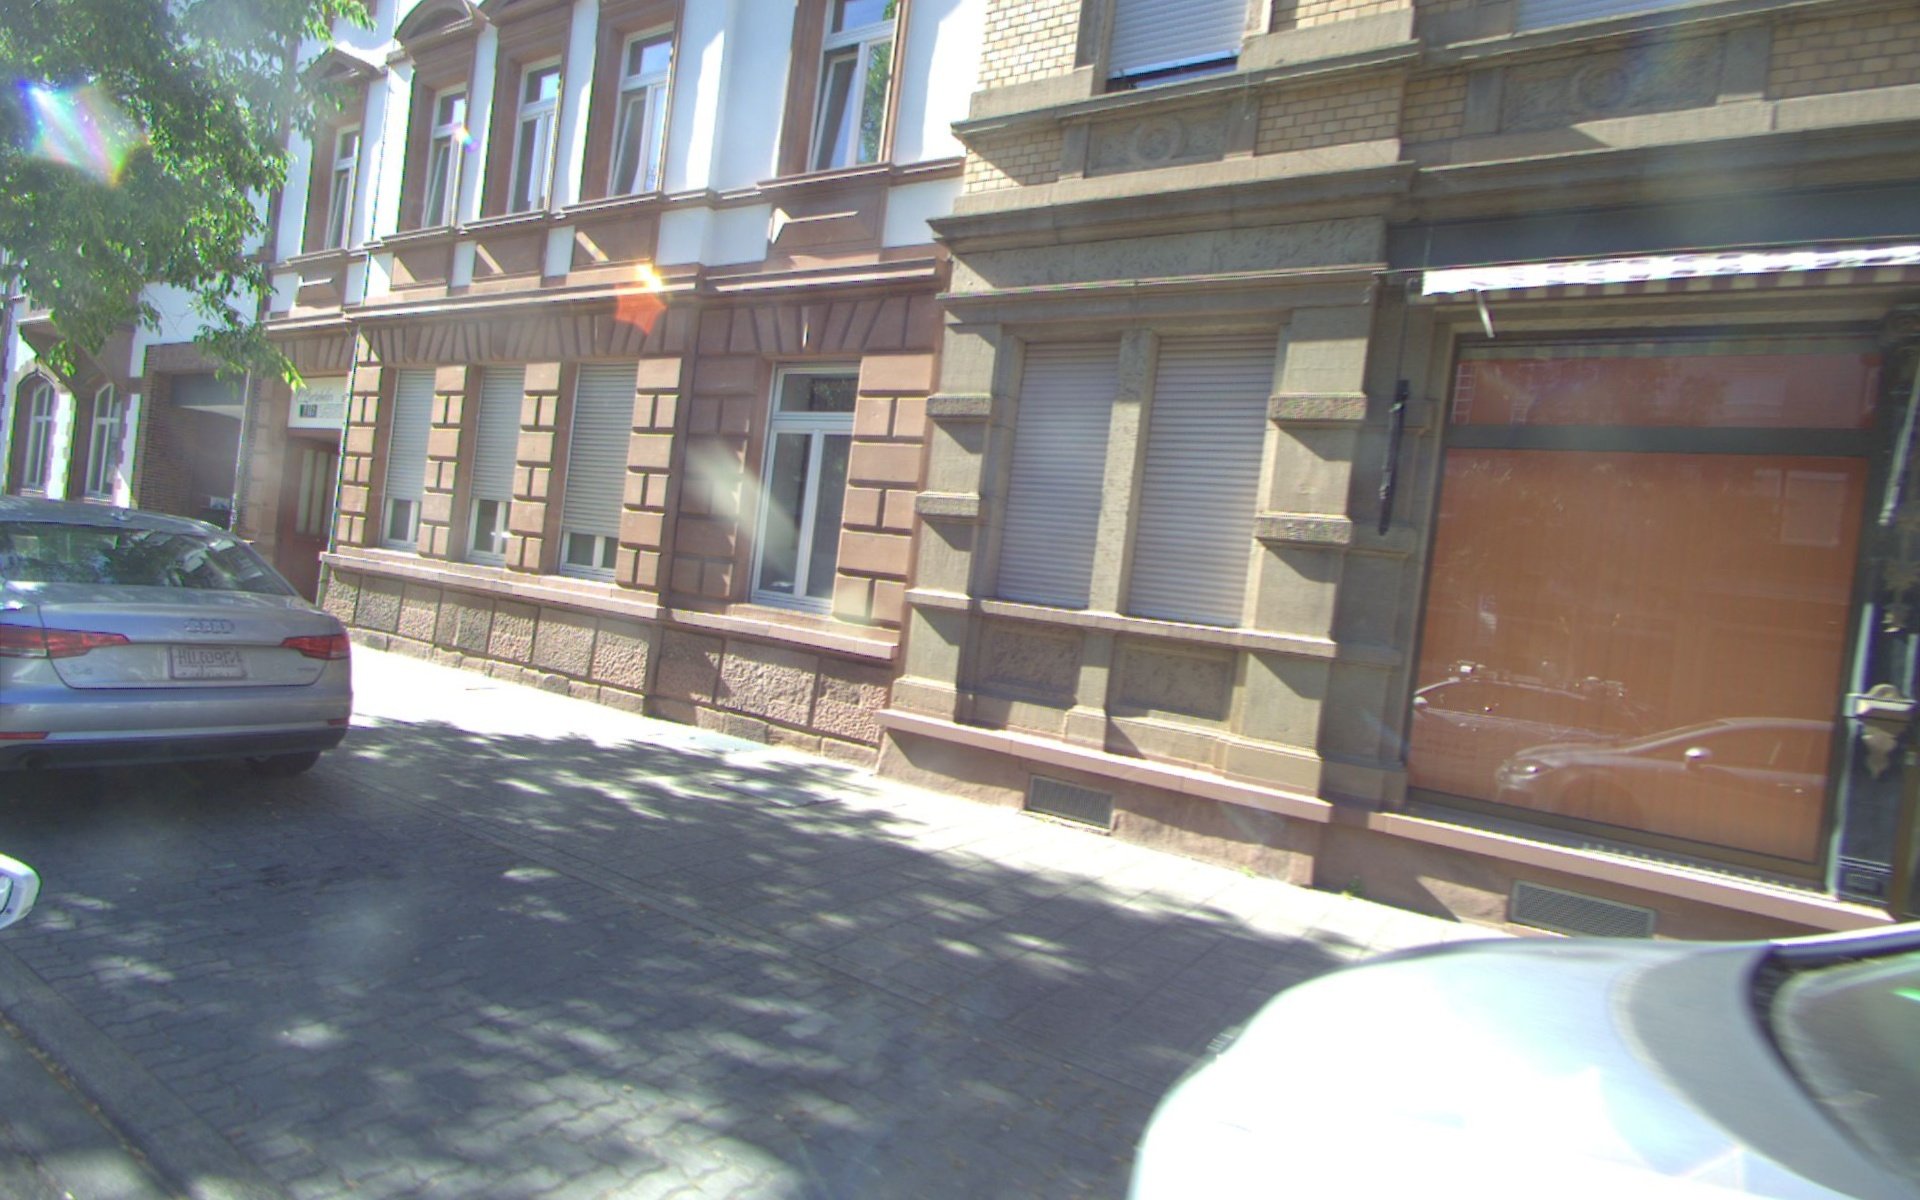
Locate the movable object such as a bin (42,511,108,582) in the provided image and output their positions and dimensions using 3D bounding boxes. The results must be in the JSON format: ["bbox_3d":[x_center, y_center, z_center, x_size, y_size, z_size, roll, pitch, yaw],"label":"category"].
[{"bbox_3d":[-14.879,-0.890,16.917,0.513,1.082,0.638,8,1,32],"label":"movable object such as a bin"}]

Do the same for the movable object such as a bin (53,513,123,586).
[{"bbox_3d":[-14.410,-0.834,16.629,0.629,1.082,0.638,8,1,32],"label":"movable object such as a bin"}]

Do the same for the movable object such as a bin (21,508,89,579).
[{"bbox_3d":[-15.420,-0.960,17.144,0.621,1.082,0.638,8,1,32],"label":"movable object such as a bin"}]

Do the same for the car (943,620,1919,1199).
[{"bbox_3d":[2.090,1.029,1.136,3.933,1.469,1.740,7,0,32],"label":"car"}]

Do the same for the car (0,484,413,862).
[{"bbox_3d":[-5.209,0.126,5.735,4.236,1.470,1.739,7,2,32],"label":"car"}]
